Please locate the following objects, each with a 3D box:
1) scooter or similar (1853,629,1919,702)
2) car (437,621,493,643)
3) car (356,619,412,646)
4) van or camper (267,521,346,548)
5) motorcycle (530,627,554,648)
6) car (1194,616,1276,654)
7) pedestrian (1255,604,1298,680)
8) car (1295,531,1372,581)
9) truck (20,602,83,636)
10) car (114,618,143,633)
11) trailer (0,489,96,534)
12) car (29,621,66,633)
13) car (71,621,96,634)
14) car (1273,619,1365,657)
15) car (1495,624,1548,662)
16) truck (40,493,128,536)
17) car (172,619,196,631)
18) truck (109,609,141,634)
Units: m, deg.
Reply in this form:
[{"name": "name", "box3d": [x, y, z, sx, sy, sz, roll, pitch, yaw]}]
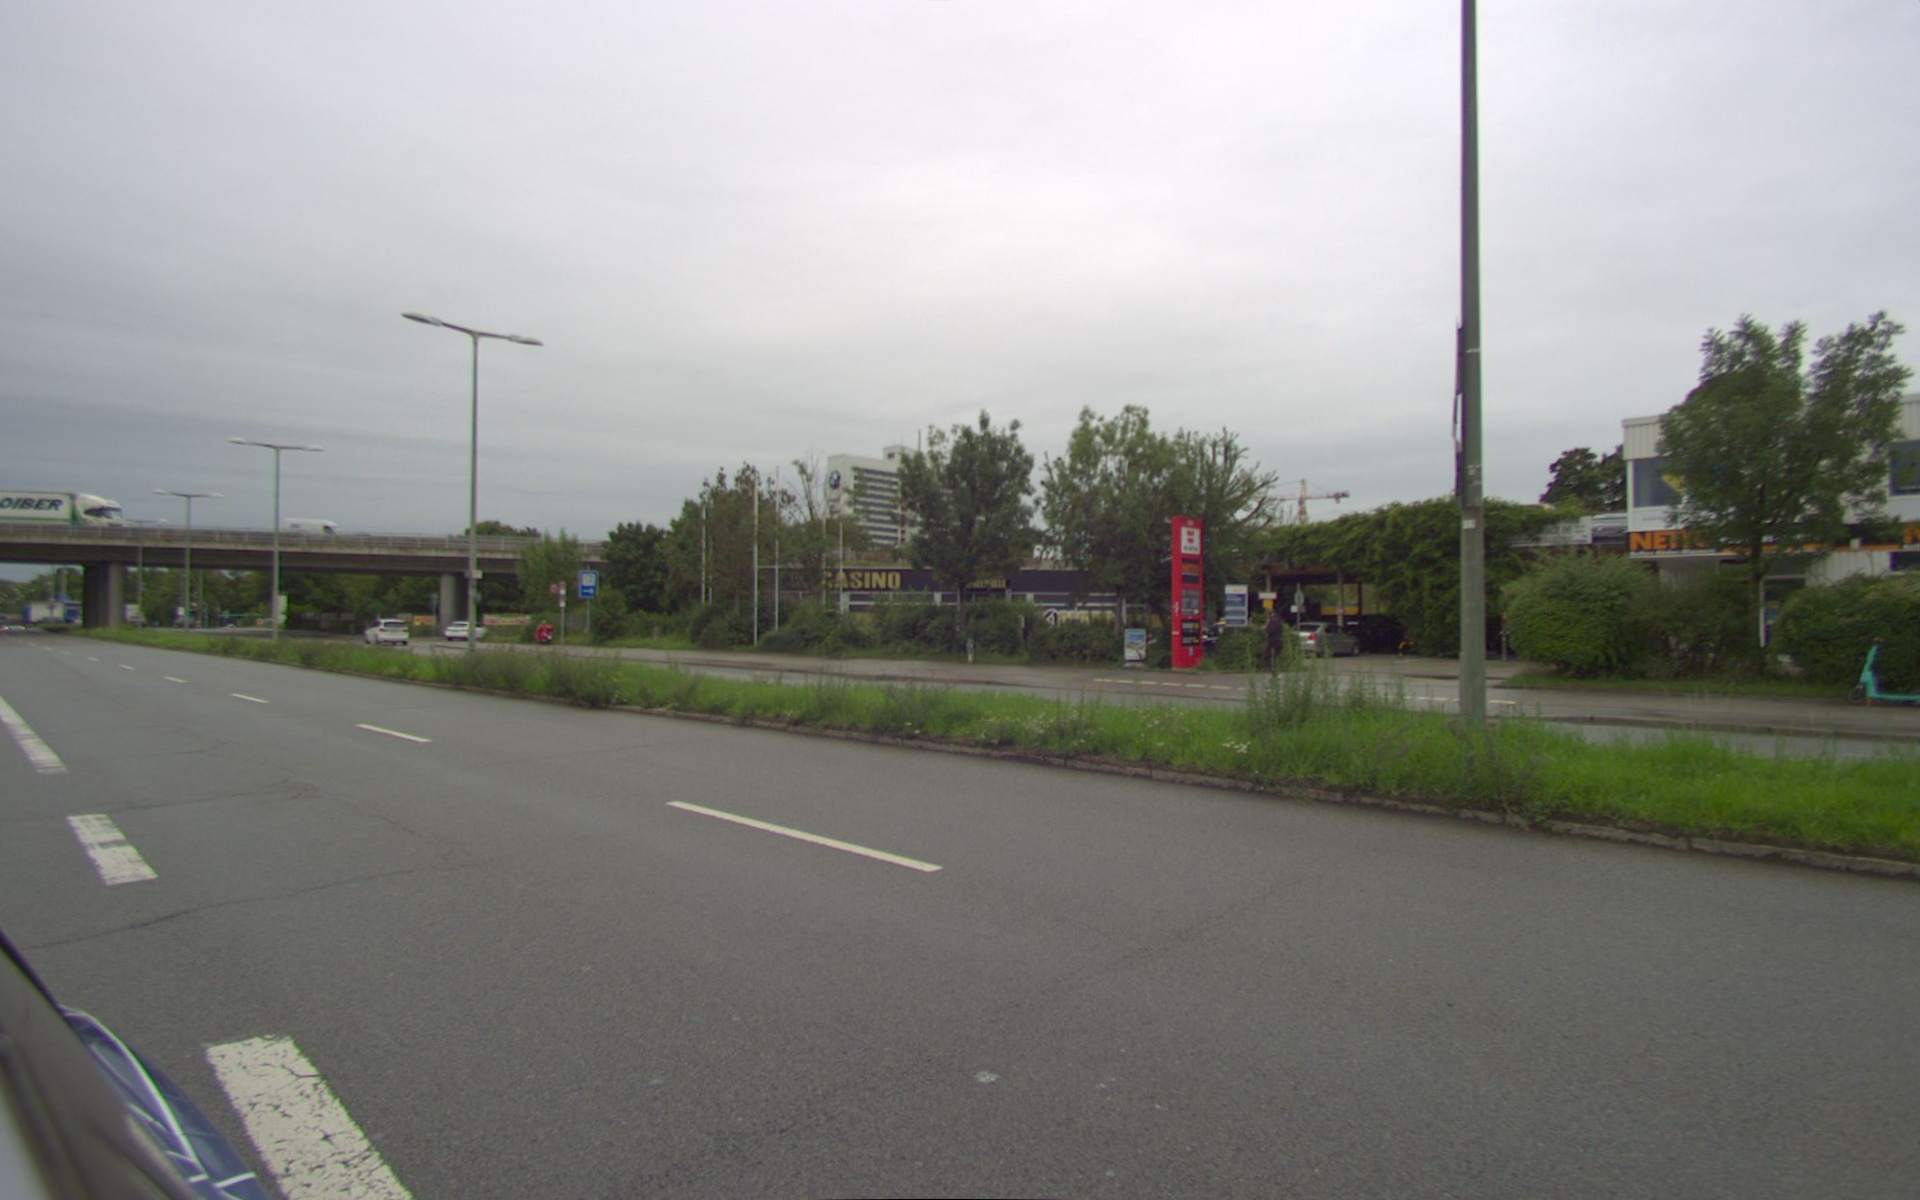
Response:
[{"name": "scooter or similar", "box3d": [16.362, 1.125, 17.458, 1.387, 1.237, 0.440, -2, -2, 44]}, {"name": "car", "box3d": [-38.095, 2.437, 78.024, 1.970, 1.584, 5.122, 1, -2, -3]}, {"name": "car", "box3d": [-36.429, 2.035, 63.956, 1.970, 1.584, 4.577, 3, -2, -44]}, {"name": "van or camper", "box3d": [-58.434, -5.860, 90.619, 5.422, 2.029, 2.335, 2, -1, -6]}, {"name": "motorcycle", "box3d": [-24.684, 2.199, 59.754, 2.197, 1.185, 0.527, -1, -2, 45]}, {"name": "car", "box3d": [12.333, 1.540, 45.279, 1.909, 1.577, 3.942, 0, 0, 44]}, {"name": "pedestrian", "box3d": [7.900, 1.040, 25.249, 0.615, 1.844, 0.818, 2, -3, -44]}, {"name": "car", "box3d": [21.098, -2.441, 57.025, 4.726, 2.387, 2.137, 5, -2, -44]}, {"name": "truck", "box3d": [-135.330, 2.871, 150.760, 9.533, 4.626, 2.779, 2, -3, 21]}, {"name": "car", "box3d": [-97.678, 3.031, 118.899, 4.591, 1.595, 1.947, 0, -4, 43]}, {"name": "trailer", "box3d": [-83.398, -7.837, 87.638, 13.842, 3.323, 2.670, 2, -1, -6]}, {"name": "car", "box3d": [-130.271, 3.887, 144.443, 4.553, 1.595, 1.963, -1, -3, 18]}, {"name": "car", "box3d": [-118.980, 3.683, 137.328, 4.590, 1.595, 1.948, 0, -4, 42]}, {"name": "car", "box3d": [15.092, 1.557, 42.479, 3.936, 1.479, 1.866, 1, 0, -39]}, {"name": "car", "box3d": [27.918, 2.151, 50.254, 1.722, 1.718, 3.624, 3, -2, 37]}, {"name": "truck", "box3d": [-76.440, -7.401, 88.394, 5.112, 3.270, 2.602, 2, -1, -8]}, {"name": "car", "box3d": [-100.114, 3.221, 130.594, 1.946, 1.407, 4.821, 4, -2, -43]}, {"name": "truck", "box3d": [-107.400, 2.746, 130.133, 7.236, 3.000, 2.227, -1, -5, 45]}]
